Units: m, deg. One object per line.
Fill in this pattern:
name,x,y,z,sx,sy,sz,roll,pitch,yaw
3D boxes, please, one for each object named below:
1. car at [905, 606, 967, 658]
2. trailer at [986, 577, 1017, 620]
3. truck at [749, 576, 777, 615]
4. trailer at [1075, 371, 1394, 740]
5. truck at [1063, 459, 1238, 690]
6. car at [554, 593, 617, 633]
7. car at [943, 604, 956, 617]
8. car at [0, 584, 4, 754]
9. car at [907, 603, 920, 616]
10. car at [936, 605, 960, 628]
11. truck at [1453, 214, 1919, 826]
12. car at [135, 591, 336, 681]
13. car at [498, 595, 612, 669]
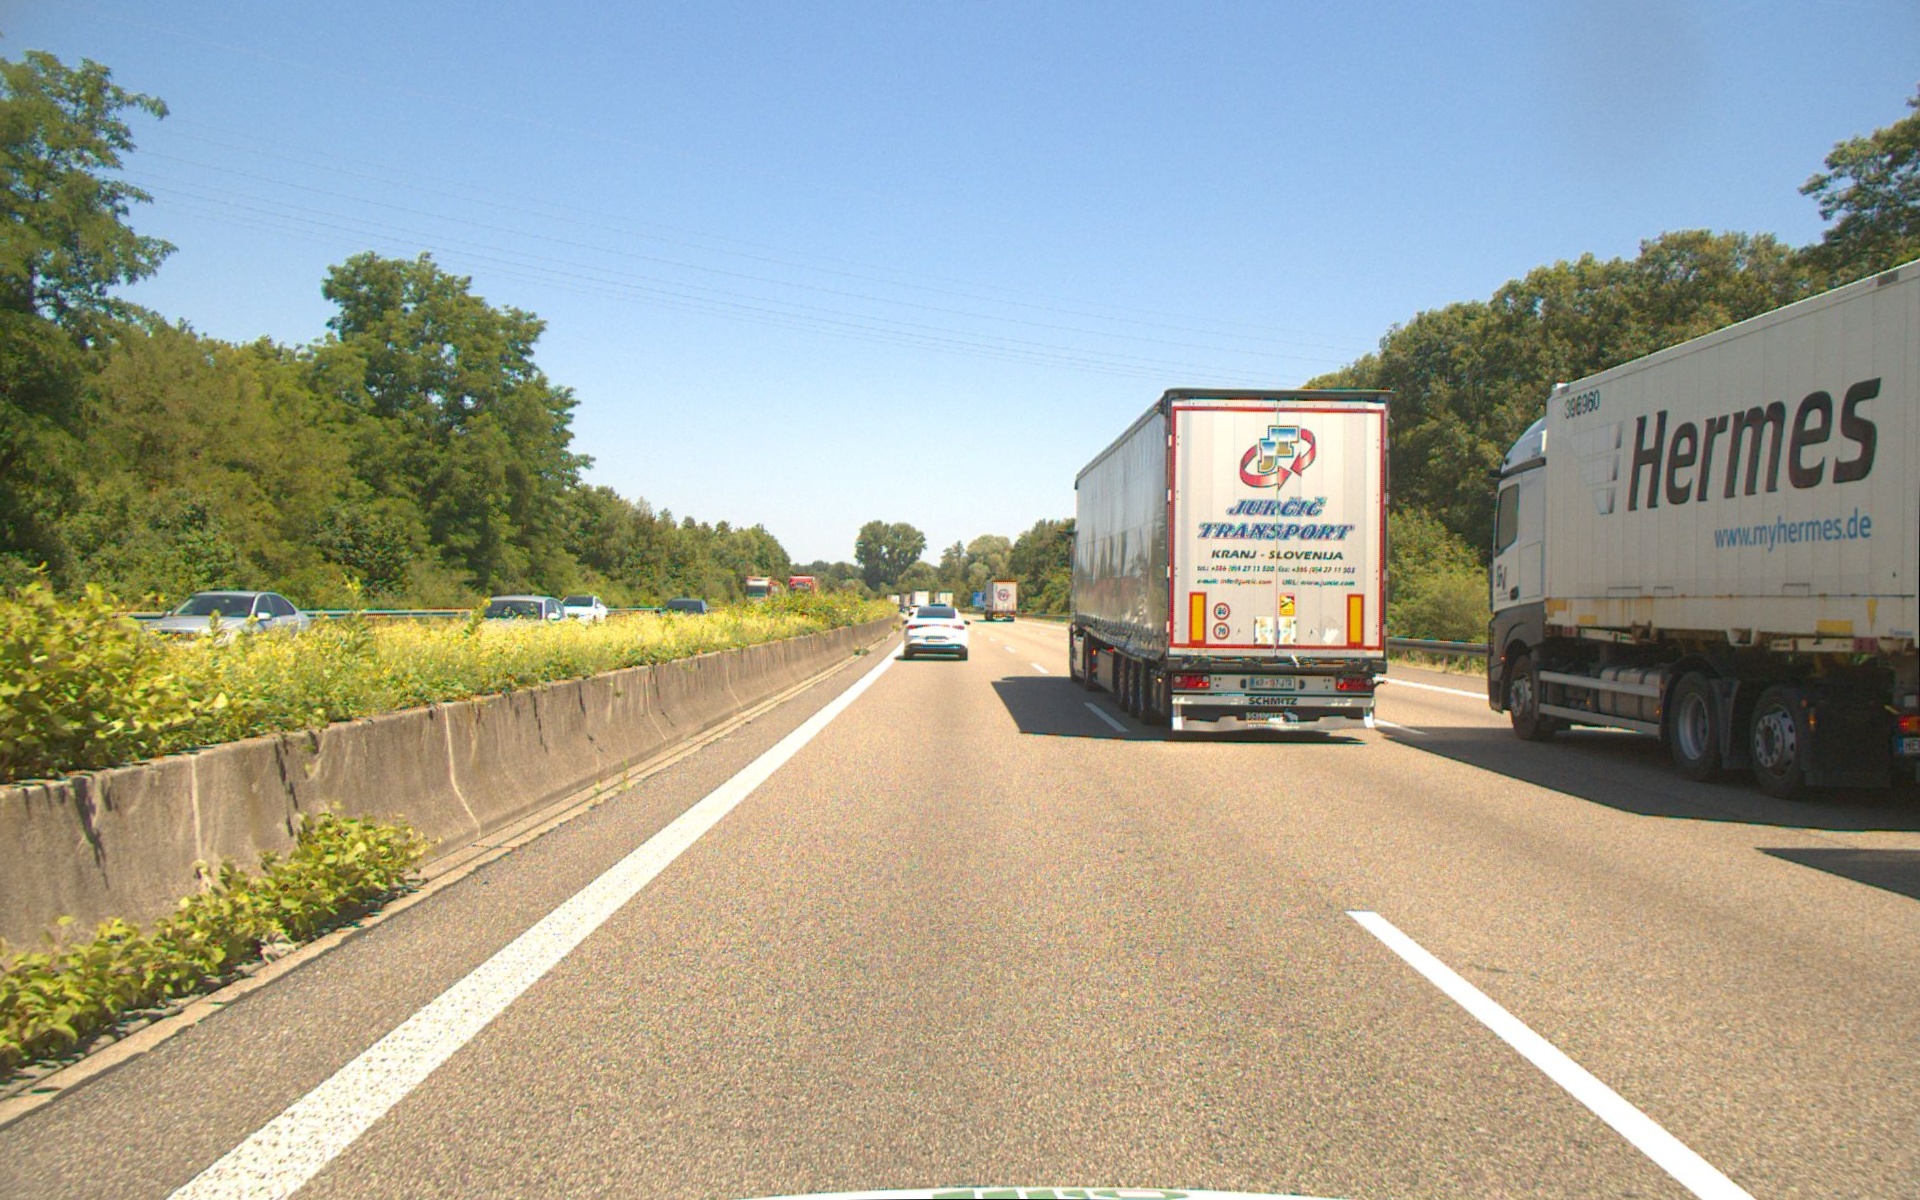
car,-0.655,0.870,46.596,1.680,1.393,3.375,1,0,0
trailer,4.337,-0.126,175.640,2.571,4.335,14.057,1,0,-1
truck,-19.318,-0.432,162.393,2.309,3.665,4.162,1,0,-2
trailer,3.521,-0.469,25.160,2.684,4.044,13.654,1,0,1
truck,3.574,-0.437,32.532,2.667,4.044,6.501,1,0,0
car,-16.737,0.581,74.143,1.777,1.716,4.761,1,0,-1
car,-1.393,1.418,223.054,1.689,1.613,3.999,1,0,-2
car,-8.723,0.558,11.793,1.617,1.422,3.998,1,0,-3
car,-6.595,1.305,234.226,1.689,1.814,3.998,1,0,-2
car,-0.959,1.293,134.746,1.953,1.803,4.000,1,0,0
truck,7.775,-0.519,16.383,2.475,4.202,10.667,1,0,-1
car,-13.301,0.626,30.694,1.662,1.500,4.718,1,0,0
car,-8.901,0.673,36.588,1.614,1.536,3.465,1,0,0
